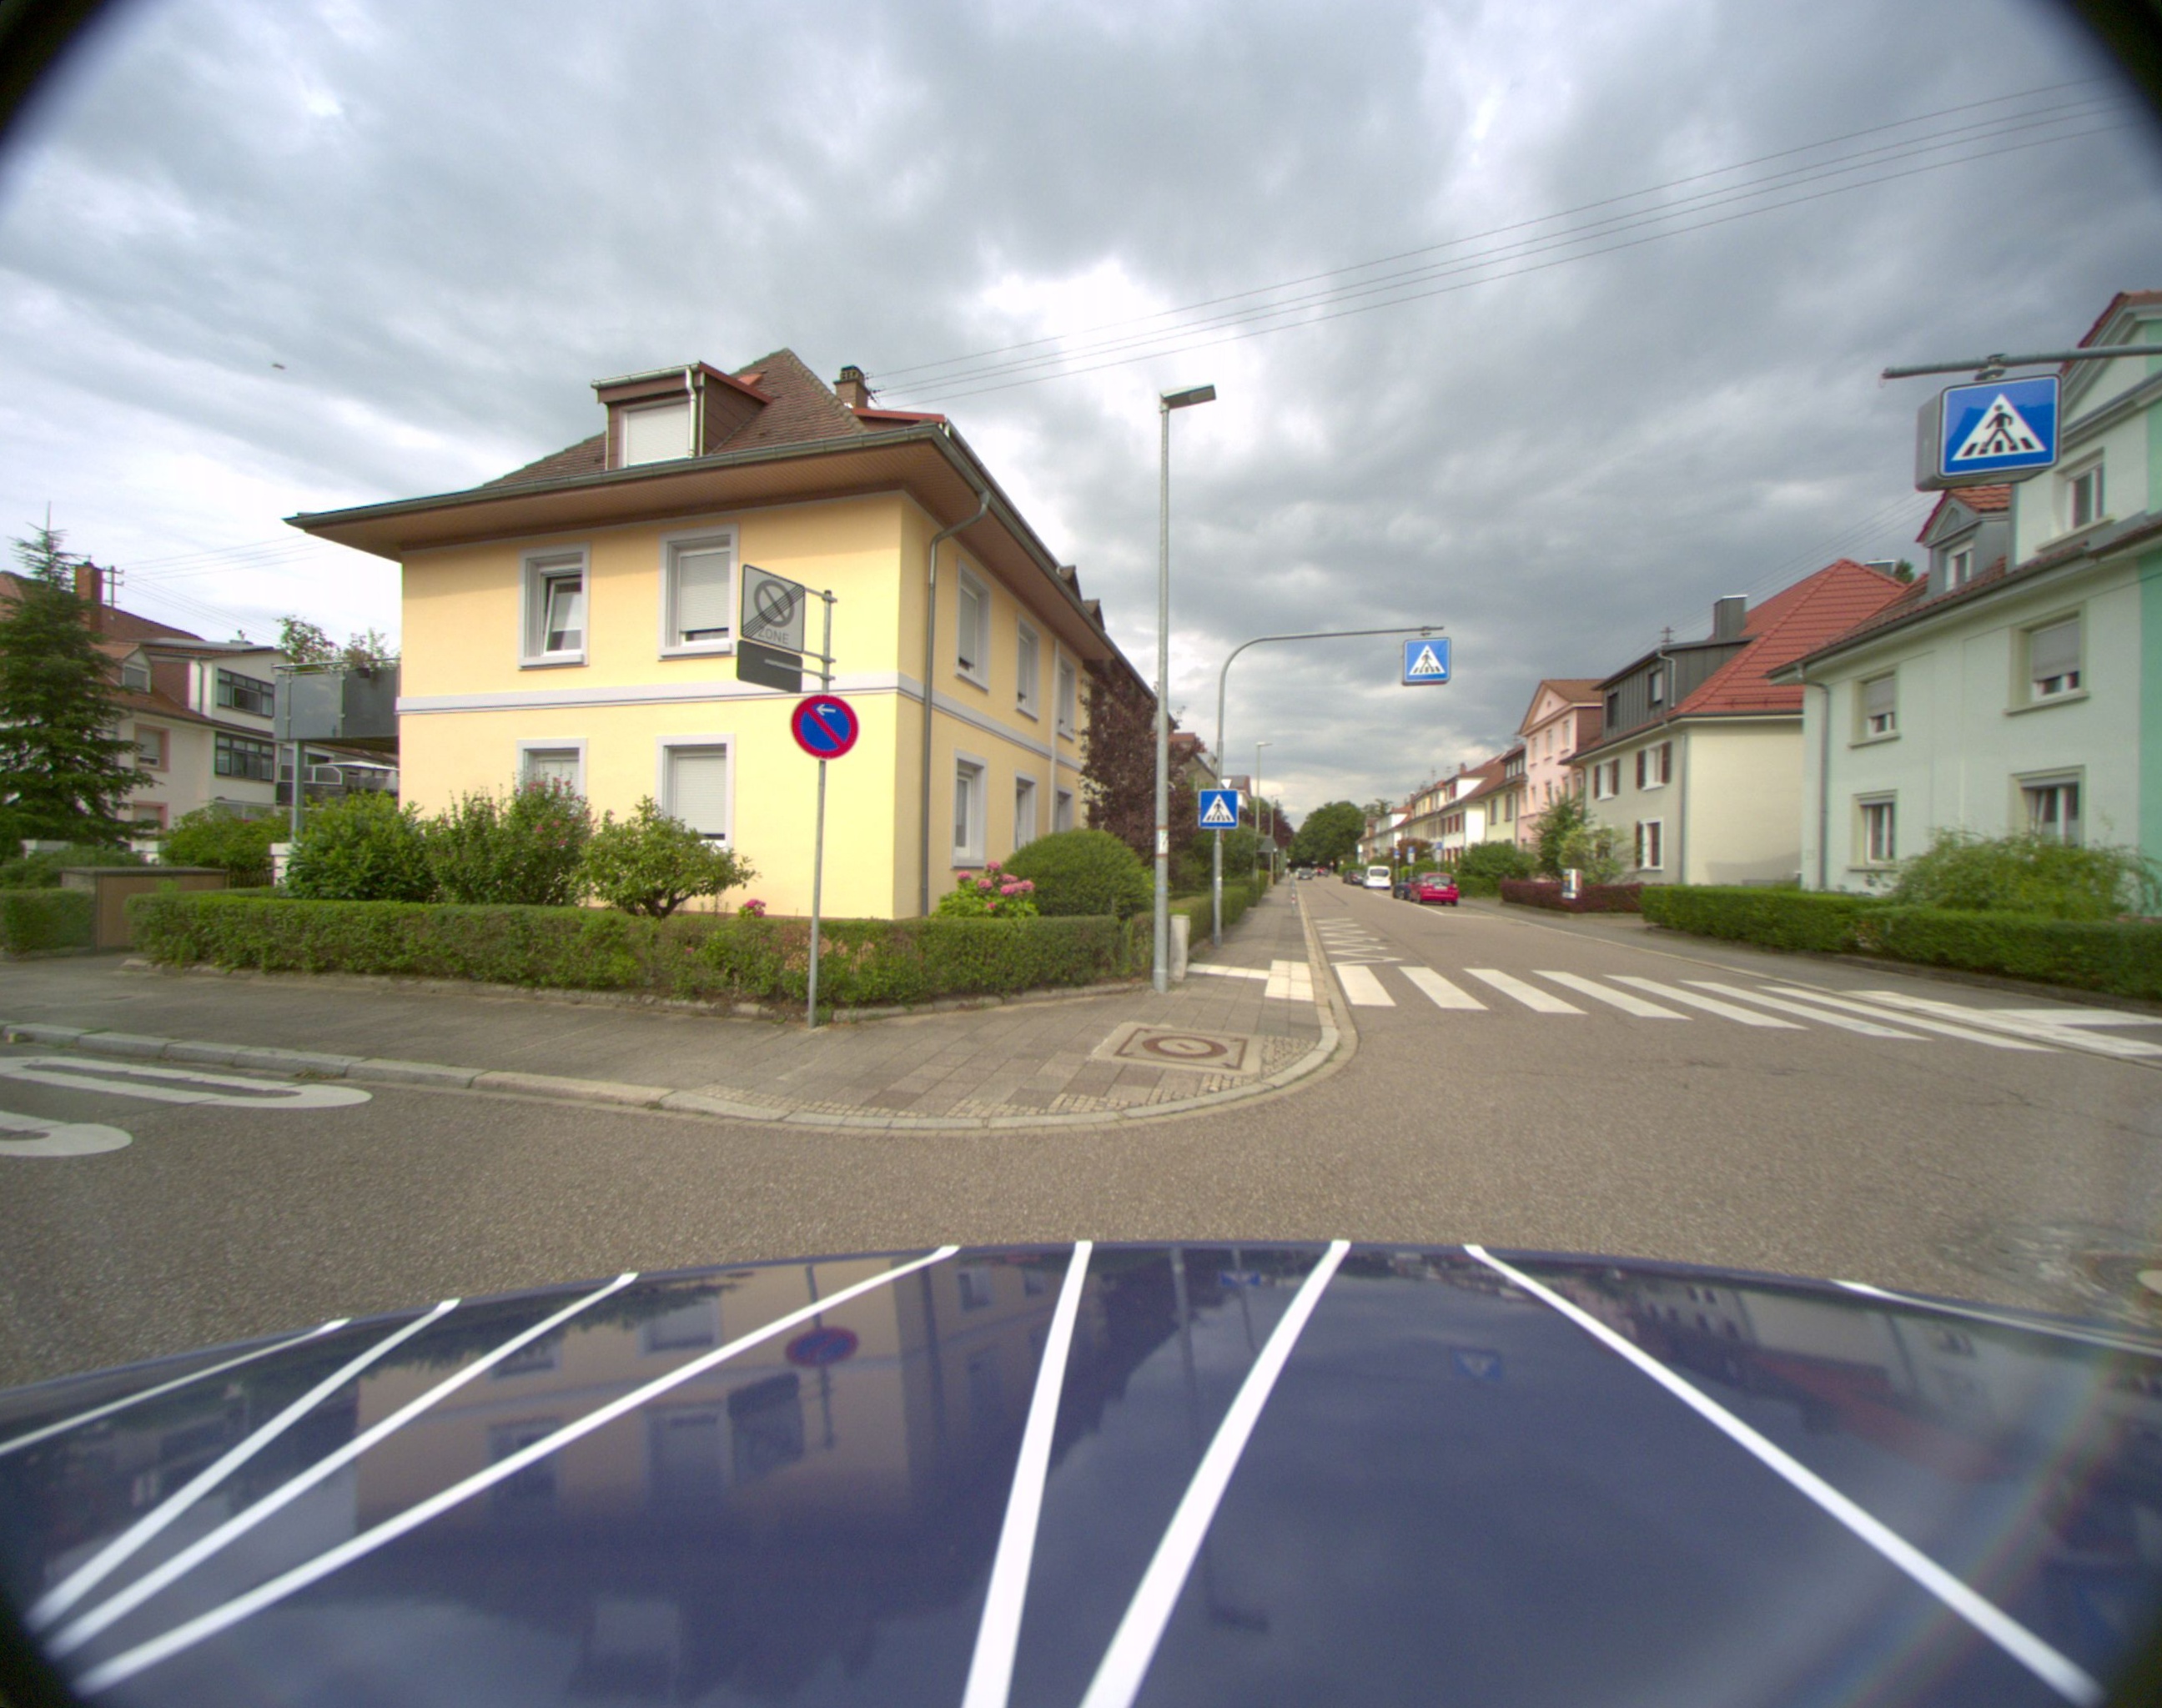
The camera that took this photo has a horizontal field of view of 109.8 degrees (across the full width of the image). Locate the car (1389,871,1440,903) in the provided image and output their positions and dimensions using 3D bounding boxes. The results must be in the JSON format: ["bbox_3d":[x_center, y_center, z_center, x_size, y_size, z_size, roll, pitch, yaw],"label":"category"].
[{"bbox_3d":[18.156,1.750,41.538,1.996,1.564,4.005,1,0,15],"label":"car"}]

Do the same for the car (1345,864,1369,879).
[{"bbox_3d":[28.641,1.788,78.892,1.996,1.564,4.005,1,0,15],"label":"car"}]

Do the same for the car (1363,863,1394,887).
[{"bbox_3d":[24.851,1.706,63.538,1.996,1.892,4.005,1,0,15],"label":"car"}]

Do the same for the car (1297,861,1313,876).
[{"bbox_3d":[30.495,1.946,103.449,1.996,2.002,4.005,1,0,16],"label":"car"}]

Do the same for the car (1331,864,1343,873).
[{"bbox_3d":[43.081,2.463,127.762,1.499,1.456,3.096,2,0,11],"label":"car"}]

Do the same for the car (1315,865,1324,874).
[{"bbox_3d":[51.267,3.323,163.476,1.800,1.645,4.006,2,0,16],"label":"car"}]

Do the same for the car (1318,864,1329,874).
[{"bbox_3d":[48.738,2.986,152.685,1.996,2.002,4.005,2,0,16],"label":"car"}]

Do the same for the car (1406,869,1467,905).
[{"bbox_3d":[16.972,1.532,36.435,1.996,1.564,4.005,1,0,15],"label":"car"}]

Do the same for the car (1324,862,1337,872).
[{"bbox_3d":[46.475,2.359,141.594,1.732,1.696,4.004,2,0,11],"label":"car"}]
